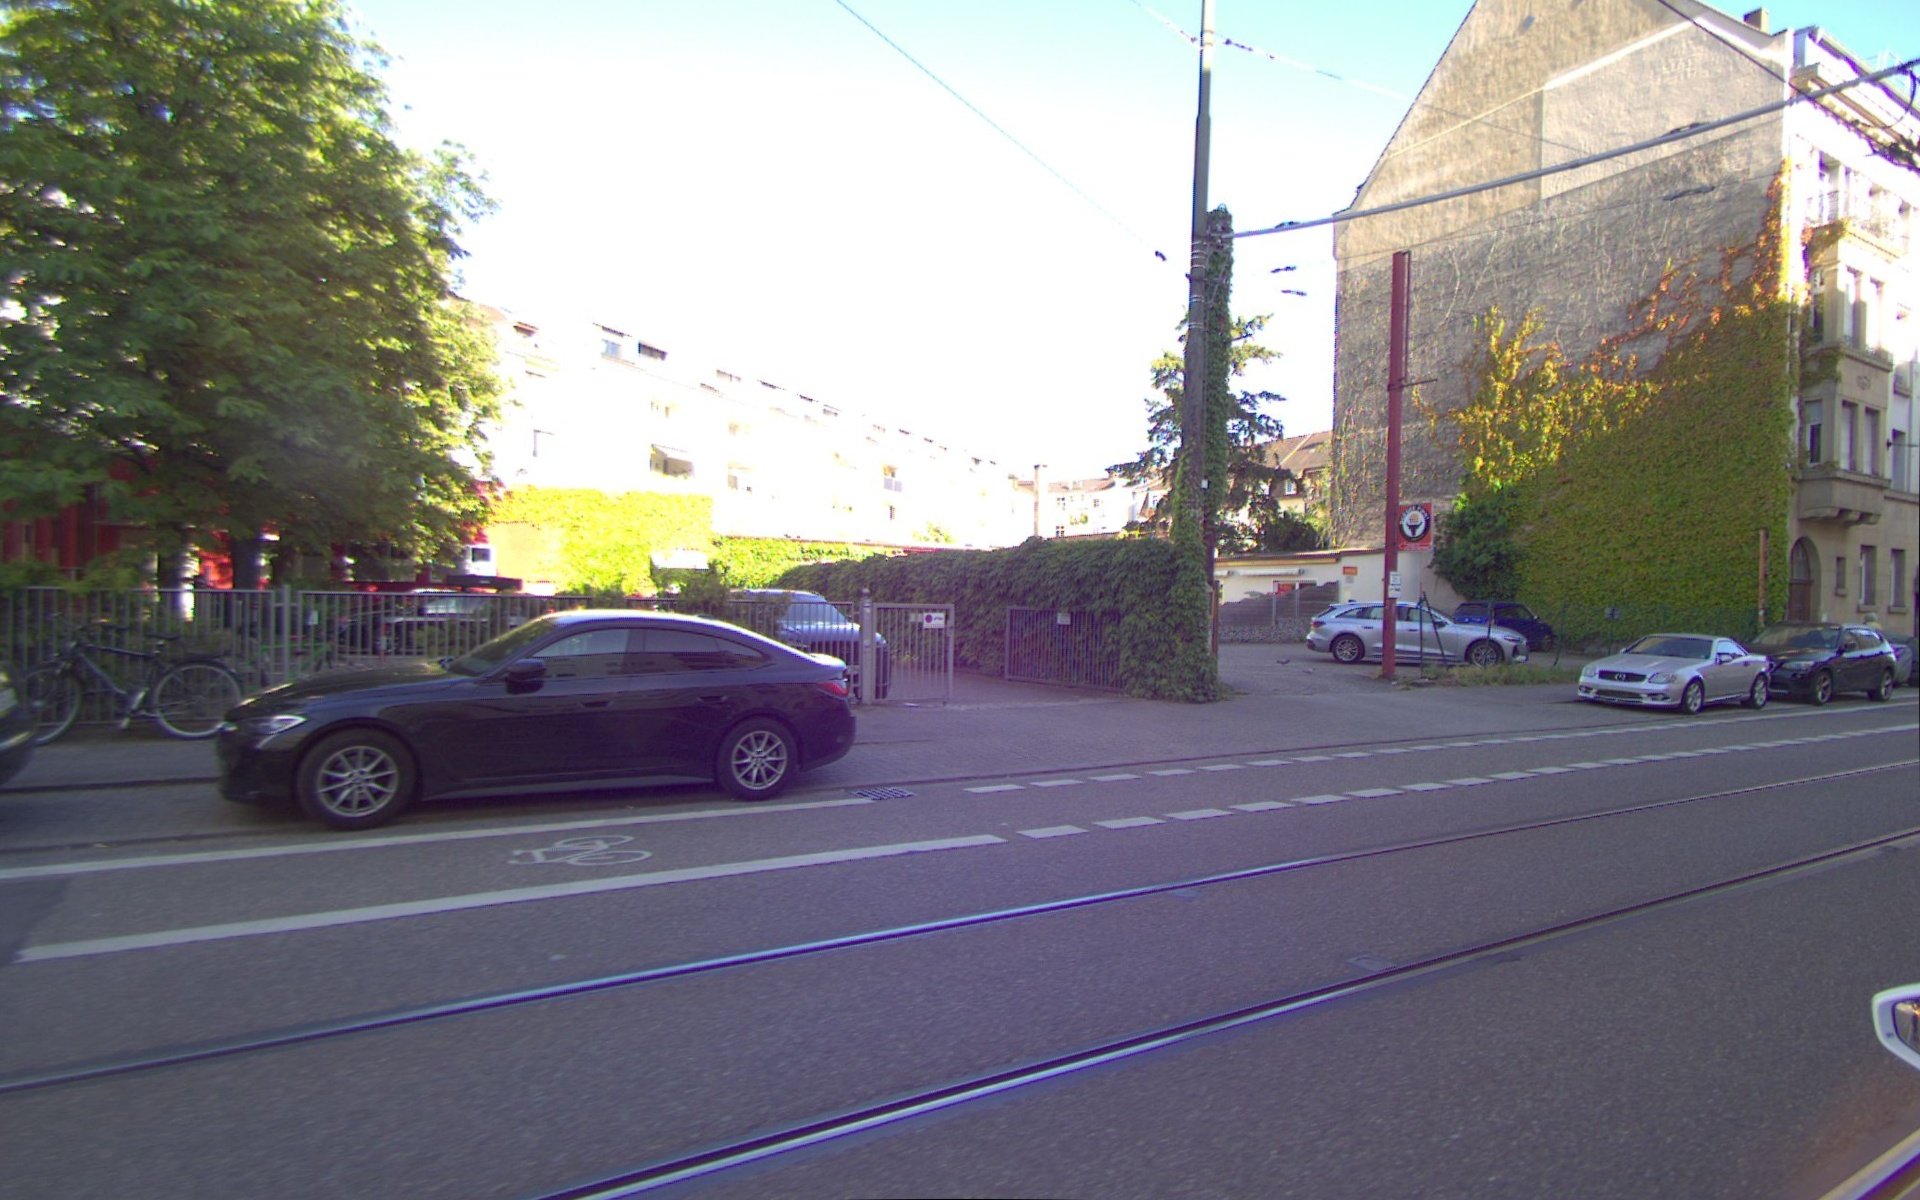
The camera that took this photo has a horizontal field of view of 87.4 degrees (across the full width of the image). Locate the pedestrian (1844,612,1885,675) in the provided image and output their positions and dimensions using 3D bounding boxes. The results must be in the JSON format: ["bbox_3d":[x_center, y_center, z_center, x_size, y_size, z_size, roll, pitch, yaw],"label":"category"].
[{"bbox_3d":[25.569,1.222,28.398,0.609,1.747,0.676,1,0,-30],"label":"pedestrian"}]

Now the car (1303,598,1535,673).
[{"bbox_3d":[10.639,0.775,23.476,4.708,1.538,1.998,1,0,27],"label":"car"}]

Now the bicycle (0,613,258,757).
[{"bbox_3d":[-7.519,0.734,8.941,2.026,1.190,0.437,2,0,-30],"label":"bicycle"}]

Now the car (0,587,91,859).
[{"bbox_3d":[-7.845,0.653,5.305,4.646,1.501,1.774,1,1,-31],"label":"car"}]

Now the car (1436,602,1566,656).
[{"bbox_3d":[16.558,0.882,30.719,3.863,1.546,1.744,1,0,-30],"label":"car"}]

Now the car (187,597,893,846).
[{"bbox_3d":[-3.087,0.790,8.124,4.785,1.465,1.774,1,1,-31],"label":"car"}]

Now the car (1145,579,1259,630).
[{"bbox_3d":[8.927,0.166,36.991,3.953,1.773,1.788,1,0,-30],"label":"car"}]

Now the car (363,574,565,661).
[{"bbox_3d":[-11.811,0.404,24.012,4.108,1.919,1.754,1,0,-36],"label":"car"}]

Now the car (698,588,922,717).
[{"bbox_3d":[-2.421,0.664,15.113,1.975,1.619,4.343,1,0,-28],"label":"car"}]

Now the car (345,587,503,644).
[{"bbox_3d":[-16.151,0.467,30.373,4.100,1.607,1.757,1,0,-30],"label":"car"}]

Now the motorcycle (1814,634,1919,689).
[{"bbox_3d":[21.286,1.423,23.401,2.137,1.187,0.741,1,0,0],"label":"motorcycle"}]

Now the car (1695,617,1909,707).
[{"bbox_3d":[17.152,1.203,20.422,4.553,1.586,1.775,1,1,-29],"label":"car"}]

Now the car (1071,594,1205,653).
[{"bbox_3d":[5.636,0.732,31.796,3.953,1.773,1.788,1,0,-30],"label":"car"}]

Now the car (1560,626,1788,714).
[{"bbox_3d":[12.853,1.189,18.037,4.172,1.331,1.774,1,1,-31],"label":"car"}]

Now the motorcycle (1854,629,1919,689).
[{"bbox_3d":[22.936,1.426,24.213,1.918,1.369,0.886,1,0,2],"label":"motorcycle"}]
